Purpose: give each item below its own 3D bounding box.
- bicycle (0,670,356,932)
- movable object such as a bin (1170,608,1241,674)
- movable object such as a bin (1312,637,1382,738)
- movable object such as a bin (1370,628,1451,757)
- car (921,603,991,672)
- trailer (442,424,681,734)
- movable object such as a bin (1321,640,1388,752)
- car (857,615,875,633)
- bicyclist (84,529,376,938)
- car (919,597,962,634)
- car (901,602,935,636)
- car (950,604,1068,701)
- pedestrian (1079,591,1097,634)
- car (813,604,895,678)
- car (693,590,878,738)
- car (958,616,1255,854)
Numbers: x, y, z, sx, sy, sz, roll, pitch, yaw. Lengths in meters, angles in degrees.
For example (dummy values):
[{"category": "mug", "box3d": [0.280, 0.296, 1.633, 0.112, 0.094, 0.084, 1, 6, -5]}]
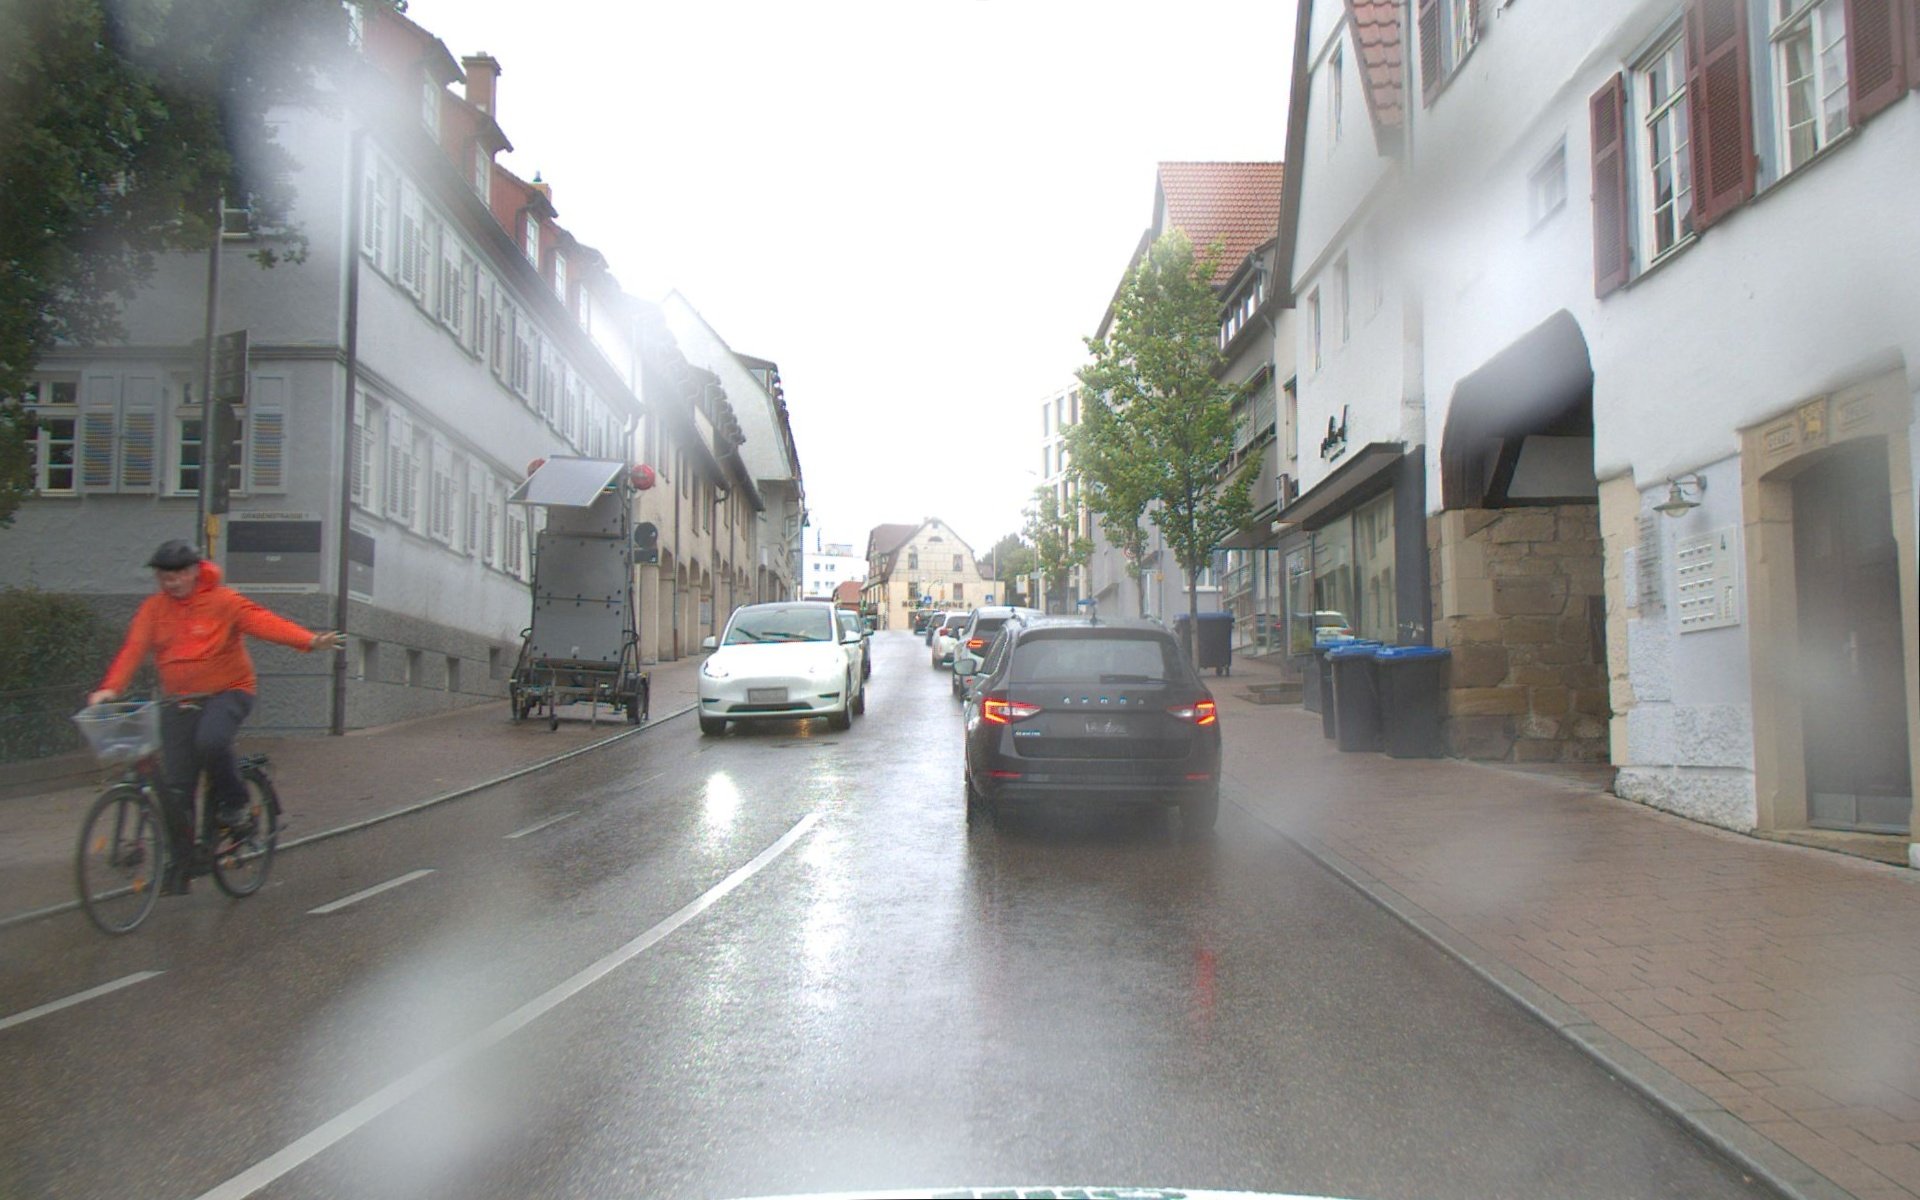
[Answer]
[{"category": "bicycle", "box3d": [-4.041, 0.980, 8.754, 0.731, 1.183, 2.158, -1, -2, 5]}, {"category": "movable object such as a bin", "box3d": [5.203, 0.854, 35.135, 1.260, 1.373, 1.486, 0, -1, -2]}, {"category": "movable object such as a bin", "box3d": [4.247, 0.948, 18.186, 0.645, 1.081, 0.614, 0, -1, 2]}, {"category": "movable object such as a bin", "box3d": [4.481, 0.909, 16.478, 0.612, 1.227, 0.605, 0, 2, -4]}, {"category": "car", "box3d": [-0.142, 1.021, 43.202, 1.595, 1.557, 3.996, 0, -5, -4]}, {"category": "trailer", "box3d": [-5.039, -0.205, 21.631, 1.953, 3.596, 4.574, 1, -1, 0]}, {"category": "movable object such as a bin", "box3d": [4.075, 0.980, 17.119, 0.555, 1.128, 0.676, 0, -1, 3]}, {"category": "car", "box3d": [-8.369, 2.114, 147.013, 1.595, 1.557, 3.997, 1, 0, -3]}, {"category": "bicyclist", "box3d": [-3.842, 0.671, 8.784, 1.112, 2.049, 0.880, 0, -1, 5]}, {"category": "car", "box3d": [-0.871, 0.691, 73.113, 1.669, 1.579, 3.603, 1, 0, -4]}, {"category": "car", "box3d": [-2.499, 1.132, 99.214, 1.953, 2.049, 3.999, 0, 0, -1]}, {"category": "car", "box3d": [0.839, 0.822, 27.543, 1.818, 1.499, 4.001, 0, 0, 2]}, {"category": "pedestrian", "box3d": [5.323, 0.531, 68.638, 0.690, 1.755, 0.832, 1, 0, 2]}, {"category": "car", "box3d": [-2.358, 0.891, 37.434, 1.738, 1.561, 3.708, 1, 0, -3]}, {"category": "car", "box3d": [-2.227, 0.796, 22.243, 1.835, 1.691, 4.308, -3, -1, 1]}, {"category": "car", "box3d": [0.999, 0.860, 12.505, 1.847, 1.473, 4.358, 0, 0, 2]}]
